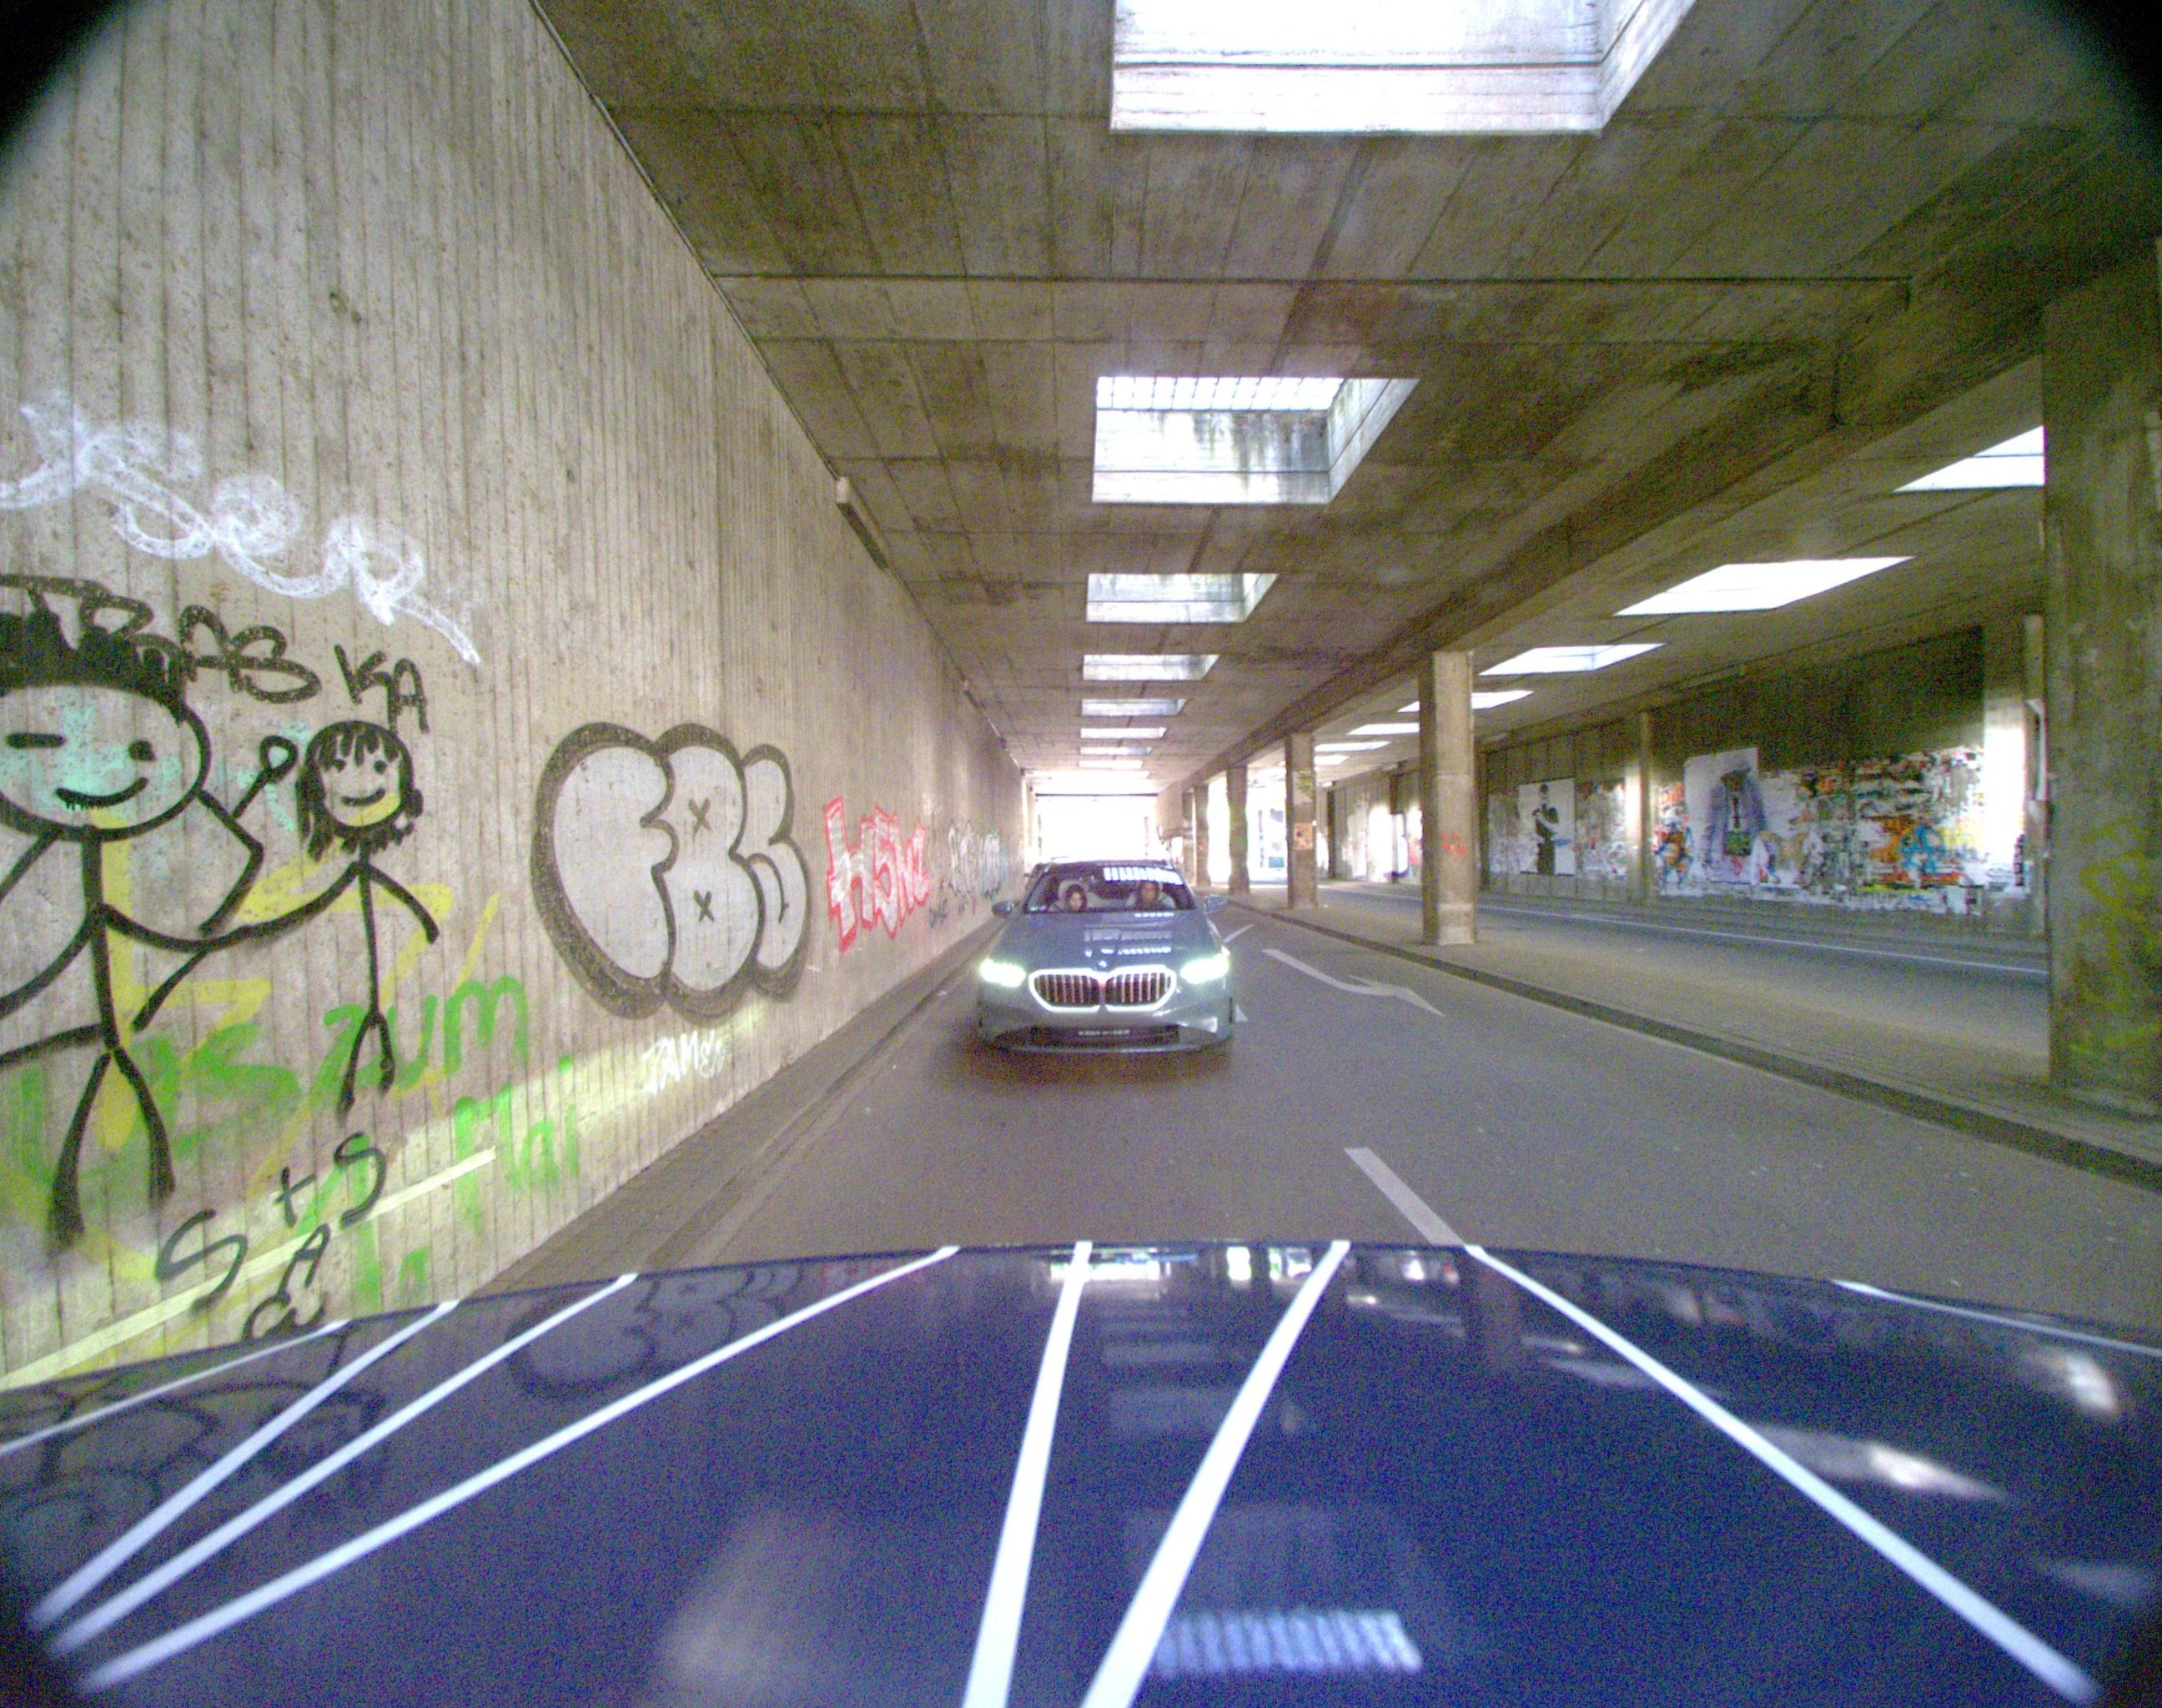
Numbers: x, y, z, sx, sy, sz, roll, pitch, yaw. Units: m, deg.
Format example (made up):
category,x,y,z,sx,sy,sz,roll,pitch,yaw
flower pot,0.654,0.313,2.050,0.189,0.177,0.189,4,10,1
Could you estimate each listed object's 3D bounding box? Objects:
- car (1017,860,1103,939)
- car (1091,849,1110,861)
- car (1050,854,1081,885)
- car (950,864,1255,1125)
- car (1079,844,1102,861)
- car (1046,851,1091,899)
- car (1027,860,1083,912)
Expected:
category,x,y,z,sx,sy,sz,roll,pitch,yaw
car,-0.431,0.925,17.276,1.679,1.516,3.969,-2,0,0
car,2.468,0.141,97.956,1.741,1.519,3.786,-2,0,-9
car,-0.814,0.810,41.236,1.592,1.562,3.694,-2,0,0
car,0.122,0.910,7.267,1.861,1.516,5.042,-2,0,0
car,1.271,-0.189,103.648,2.161,2.150,4.785,-2,0,-12
car,-0.469,0.776,29.908,1.592,1.711,3.694,-2,0,0
car,-0.767,0.953,23.902,1.592,1.432,3.806,-2,0,0
